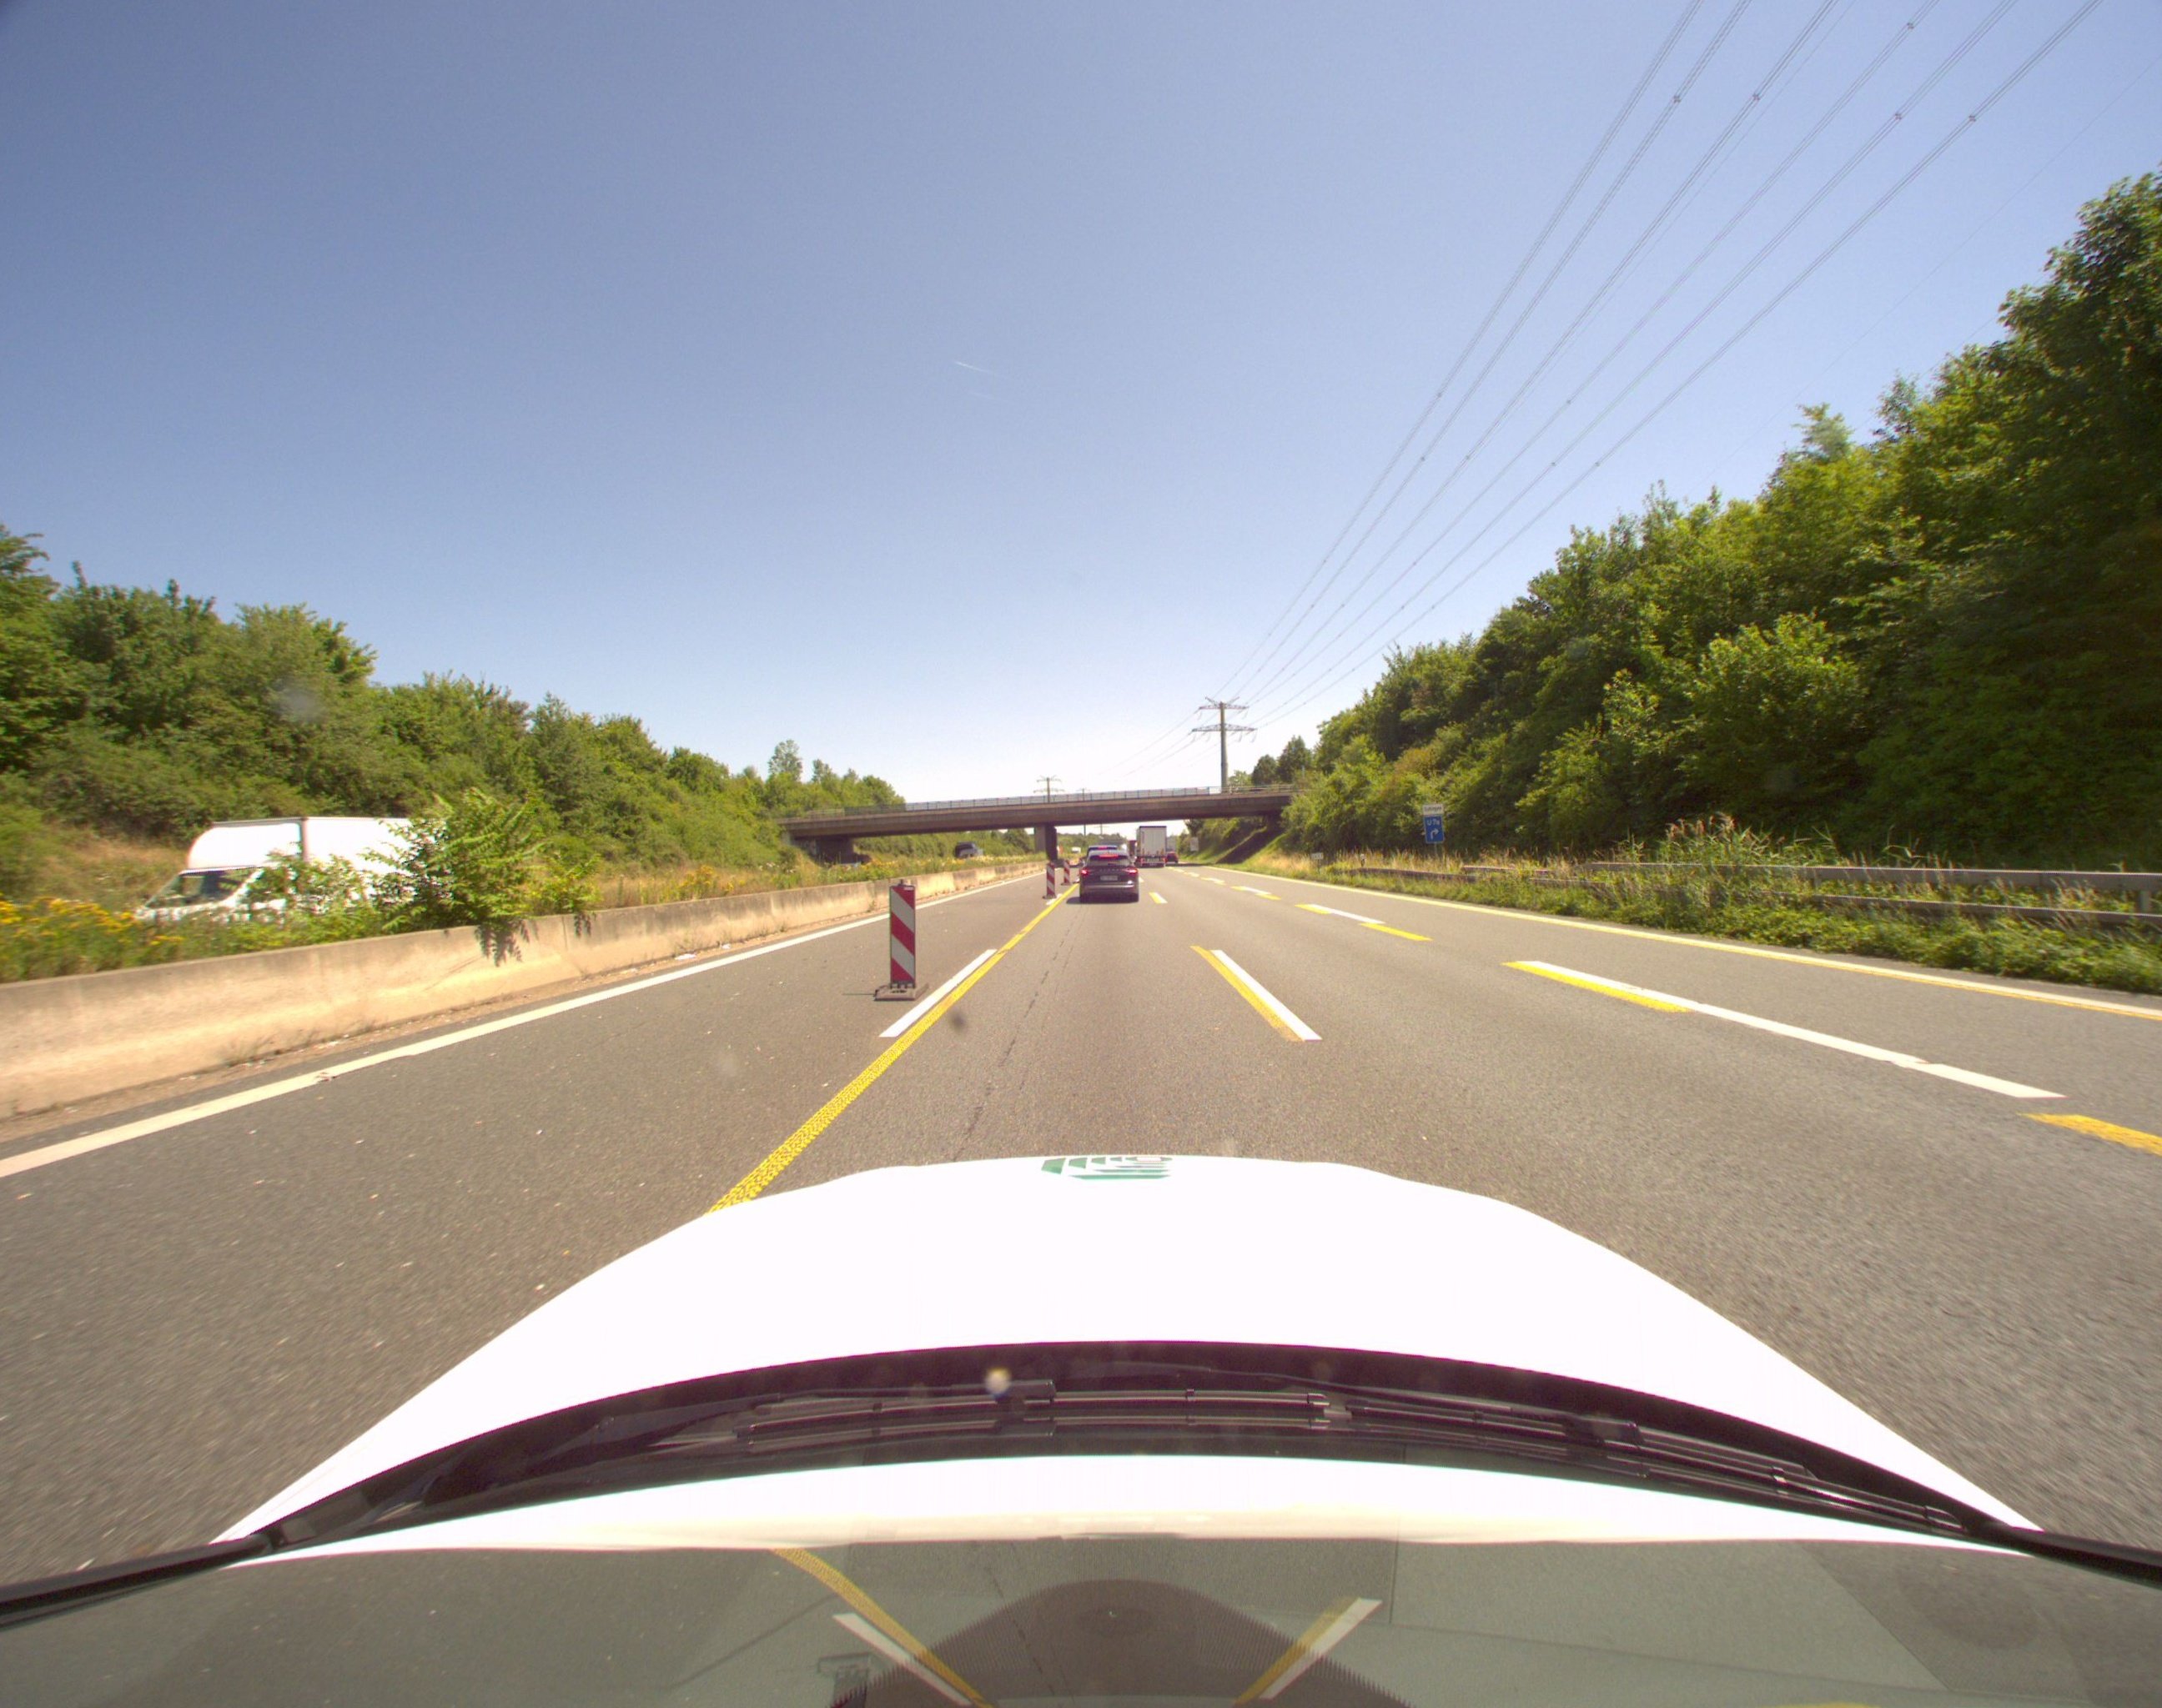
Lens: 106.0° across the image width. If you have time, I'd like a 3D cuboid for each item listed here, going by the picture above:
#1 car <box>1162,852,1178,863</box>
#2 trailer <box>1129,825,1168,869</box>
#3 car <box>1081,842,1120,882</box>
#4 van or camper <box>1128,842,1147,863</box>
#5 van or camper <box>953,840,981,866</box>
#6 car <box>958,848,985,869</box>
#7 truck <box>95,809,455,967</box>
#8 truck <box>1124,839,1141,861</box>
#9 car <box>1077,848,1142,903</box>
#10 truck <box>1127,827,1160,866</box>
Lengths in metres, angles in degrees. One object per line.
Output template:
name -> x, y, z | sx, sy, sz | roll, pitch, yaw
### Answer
car -> 12.003, 0.496, 109.745 | 1.772, 1.489, 4.465 | 0, 0, 1
trailer -> 6.738, -0.698, 82.961 | 3.055, 4.042, 11.487 | -1, 0, 0
car -> 1.012, 0.356, 42.588 | 1.889, 1.841, 4.444 | 1, 3, 1
van or camper -> 8.608, -0.243, 125.124 | 2.577, 2.968, 6.087 | -2, 0, 2
van or camper -> -14.796, -0.128, 106.154 | 2.560, 3.187, 6.235 | -1, 0, 2
car -> -11.784, 0.426, 88.218 | 2.105, 2.197, 5.313 | 0, 0, 1
truck -> -19.525, 0.713, 20.437 | 2.486, 3.259, 6.367 | -2, 0, 2
truck -> 10.092, -0.829, 160.763 | 3.065, 4.146, 13.064 | 0, 0, 3
car -> 0.881, 0.613, 26.306 | 1.889, 1.592, 4.443 | -1, 0, 1
truck -> 6.796, -0.776, 89.803 | 3.014, 4.087, 7.795 | -1, 0, 0
